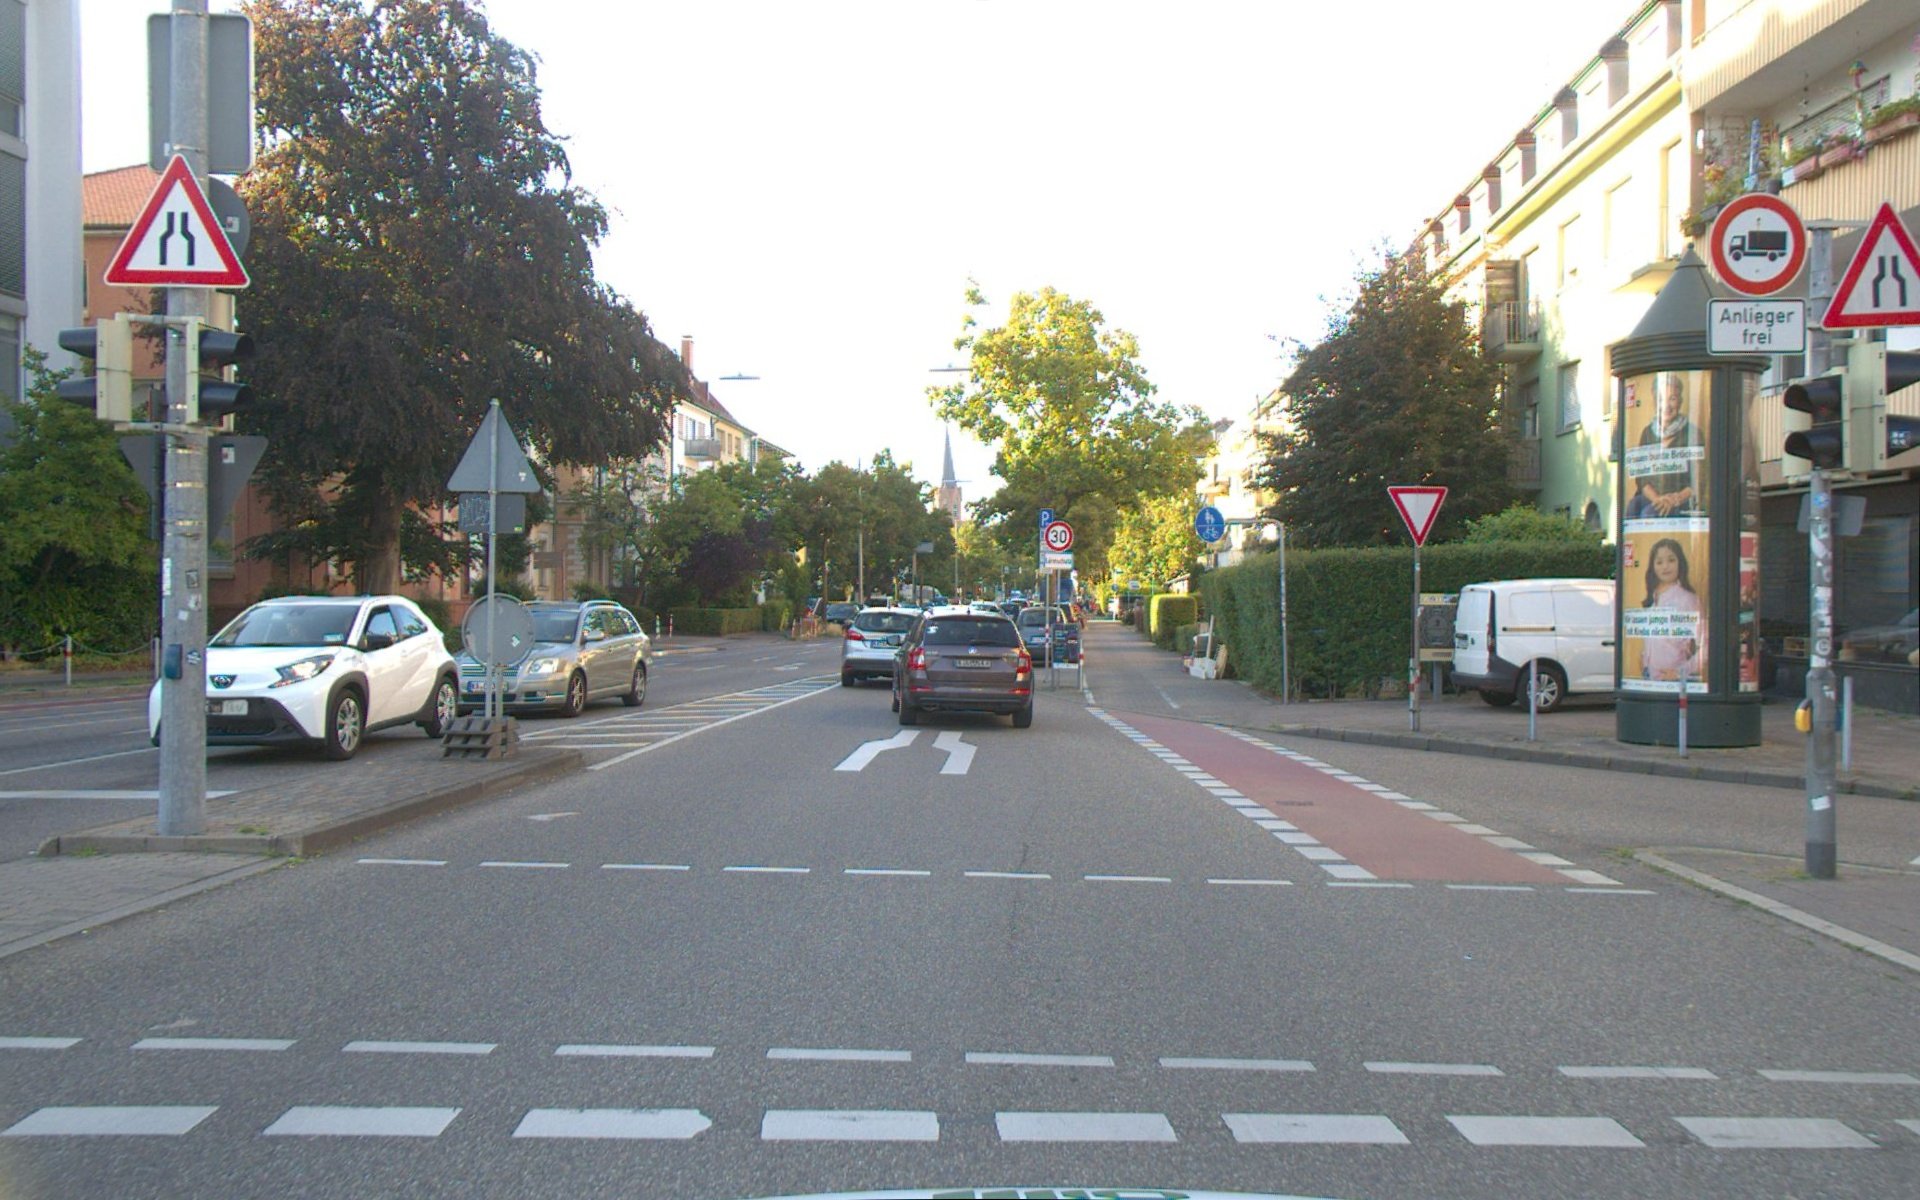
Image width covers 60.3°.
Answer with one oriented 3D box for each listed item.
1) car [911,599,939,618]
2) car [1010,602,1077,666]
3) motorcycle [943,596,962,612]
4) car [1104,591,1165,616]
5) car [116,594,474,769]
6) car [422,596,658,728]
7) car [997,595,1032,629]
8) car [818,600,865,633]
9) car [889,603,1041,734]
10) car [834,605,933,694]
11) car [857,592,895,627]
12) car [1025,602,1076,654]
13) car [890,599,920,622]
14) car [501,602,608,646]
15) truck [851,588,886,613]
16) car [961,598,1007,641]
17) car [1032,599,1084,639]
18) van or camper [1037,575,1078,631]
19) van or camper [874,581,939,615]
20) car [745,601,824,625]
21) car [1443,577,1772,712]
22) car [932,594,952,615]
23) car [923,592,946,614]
[{"bbox_3d":[-2.687,0.645,127.597,1.717,1.445,4.428,0,1,4],"label":"car"},{"bbox_3d":[2.237,0.864,43.708,1.696,1.578,3.648,0,1,4],"label":"car"},{"bbox_3d":[-0.734,0.359,155.754,0.759,1.538,2.002,0,1,-38],"label":"motorcycle"},{"bbox_3d":[13.664,0.268,129.729,4.473,1.926,1.900,0,0,-24],"label":"car"},{"bbox_3d":[-6.377,0.700,16.370,1.789,1.486,3.904,0,1,3],"label":"car"},{"bbox_3d":[-5.541,0.748,22.439,1.789,1.541,4.606,0,1,3],"label":"car"},{"bbox_3d":[2.843,0.601,86.136,1.696,1.680,3.543,0,1,4],"label":"car"},{"bbox_3d":[-5.810,0.782,81.548,1.713,1.529,4.199,0,1,4],"label":"car"},{"bbox_3d":[-0.019,0.837,22.038,1.696,1.520,3.947,0,1,-5],"label":"car"},{"bbox_3d":[-1.410,0.897,31.751,1.694,1.520,3.951,0,1,0],"label":"car"},{"bbox_3d":[-4.930,0.531,97.249,1.732,1.952,4.462,0,1,4],"label":"car"},{"bbox_3d":[3.161,0.939,57.546,1.696,1.680,4.293,0,1,4],"label":"car"},{"bbox_3d":[-3.841,0.726,115.663,1.681,1.523,4.250,0,1,4],"label":"car"},{"bbox_3d":[-14.715,0.859,60.182,3.425,1.512,1.815,0,1,0],"label":"car"},{"bbox_3d":[-7.889,0.056,142.593,2.852,2.130,1.547,0,0,3],"label":"truck"},{"bbox_3d":[1.005,0.769,67.912,1.696,1.680,3.543,0,1,4],"label":"car"},{"bbox_3d":[3.971,0.766,67.954,1.881,1.512,4.746,0,1,0],"label":"car"},{"bbox_3d":[5.026,0.158,84.610,2.024,2.722,5.992,0,0,4],"label":"van or camper"},{"bbox_3d":[-6.185,-0.228,192.357,7.481,3.942,2.001,0,0,2],"label":"van or camper"},{"bbox_3d":[-10.520,0.782,98.930,4.624,1.386,1.996,0,1,-10],"label":"car"},{"bbox_3d":[9.218,0.605,23.784,4.003,1.846,1.862,0,1,1],"label":"car"},{"bbox_3d":[-1.578,0.385,145.422,1.475,1.788,3.695,0,1,3],"label":"car"},{"bbox_3d":[-2.142,0.240,140.779,1.713,1.771,3.593,0,1,4],"label":"car"}]
